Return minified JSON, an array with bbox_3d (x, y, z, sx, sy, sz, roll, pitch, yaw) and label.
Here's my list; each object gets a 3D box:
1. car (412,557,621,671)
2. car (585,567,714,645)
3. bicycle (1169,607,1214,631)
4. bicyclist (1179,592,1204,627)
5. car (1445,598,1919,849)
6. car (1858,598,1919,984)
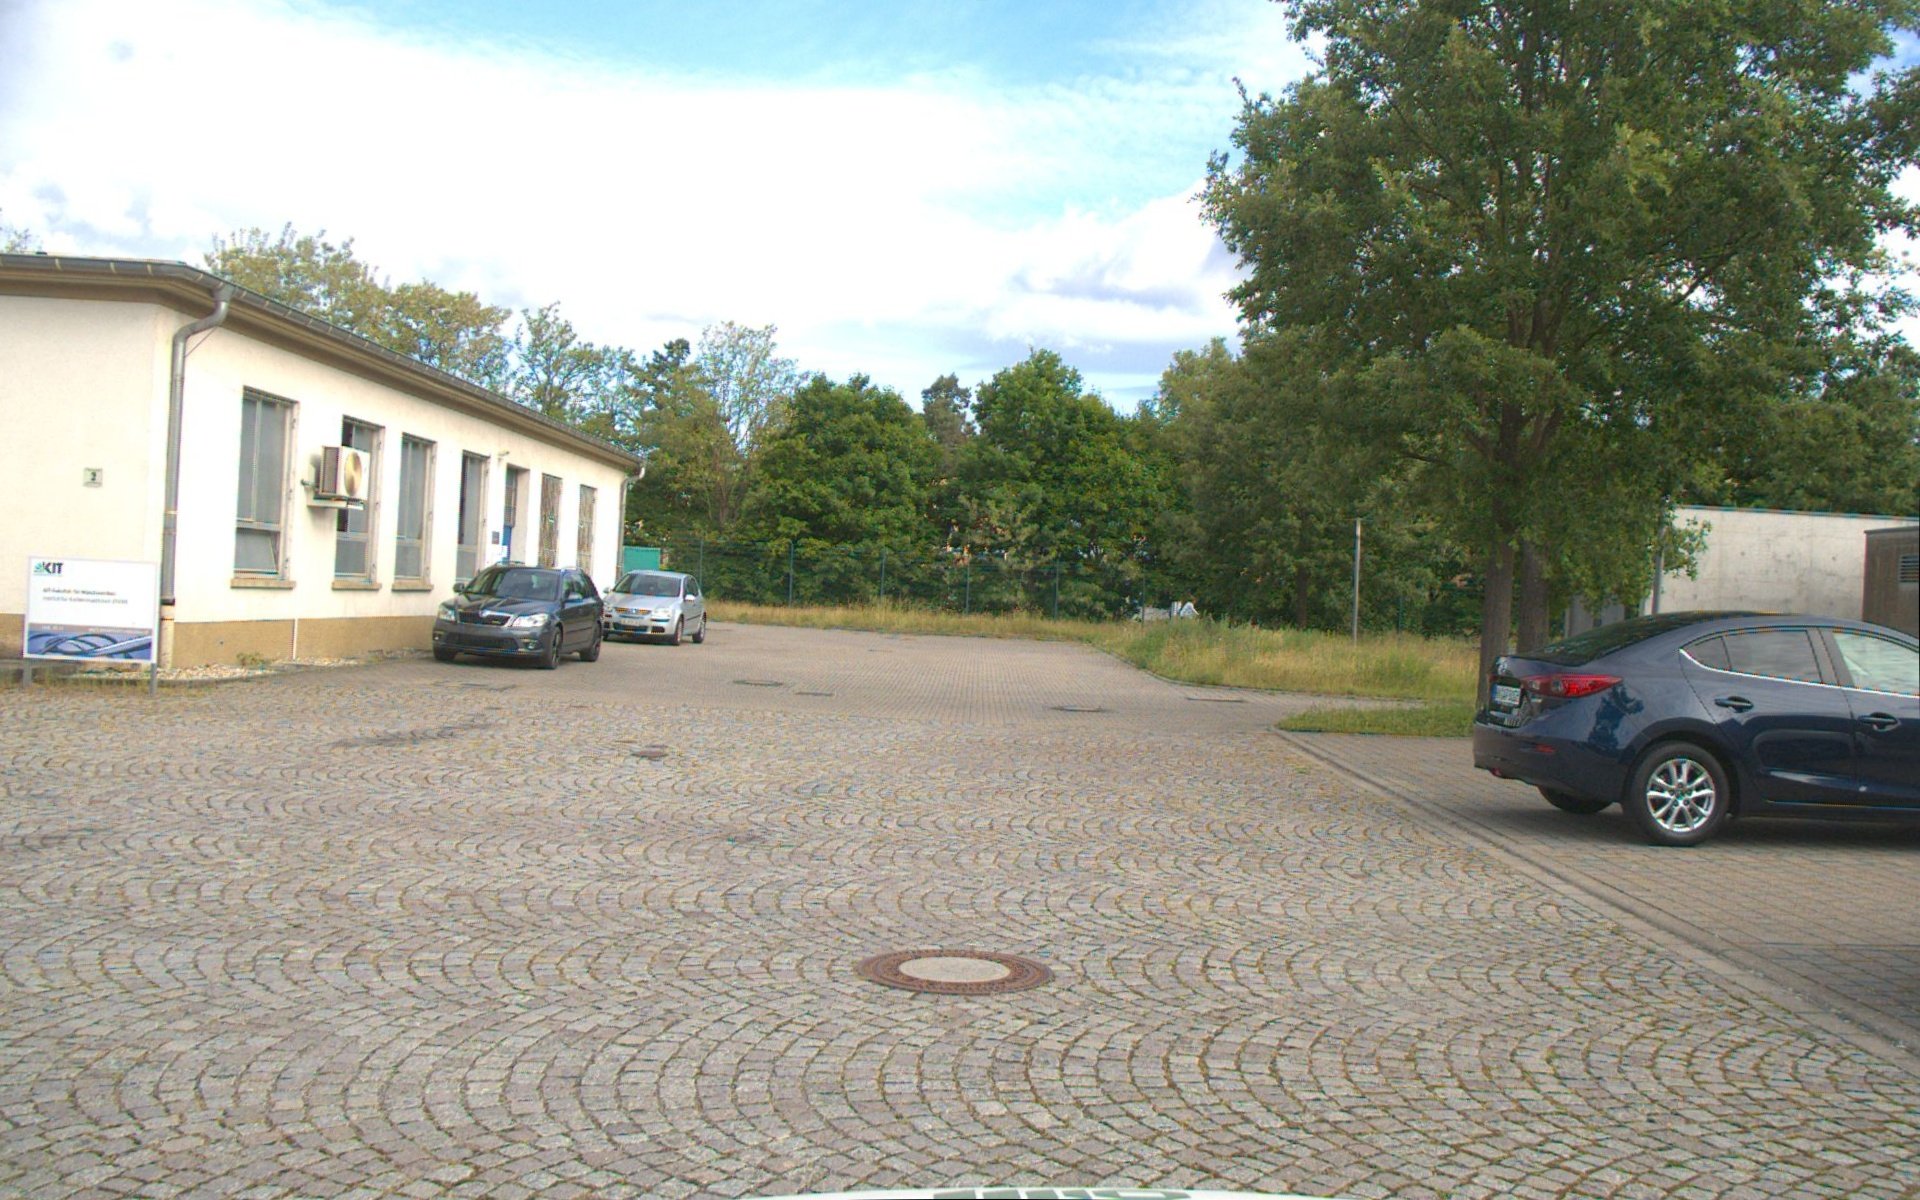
[{"bbox_3d":[-6.626,0.177,25.298,1.885,1.486,4.810,3,0,-1],"label":"car"},{"bbox_3d":[-6.494,0.105,35.075,1.885,1.464,4.367,3,0,-1],"label":"car"},{"bbox_3d":[8.302,0.675,59.324,1.486,0.805,0.588,3,0,0],"label":"bicycle"},{"bbox_3d":[8.293,0.348,59.334,0.754,1.227,0.588,3,0,0],"label":"bicyclist"},{"bbox_3d":[5.744,0.785,11.136,4.372,1.472,1.944,1,0,0],"label":"car"},{"bbox_3d":[5.680,0.816,5.904,3.894,1.492,1.883,2,0,0],"label":"car"}]
